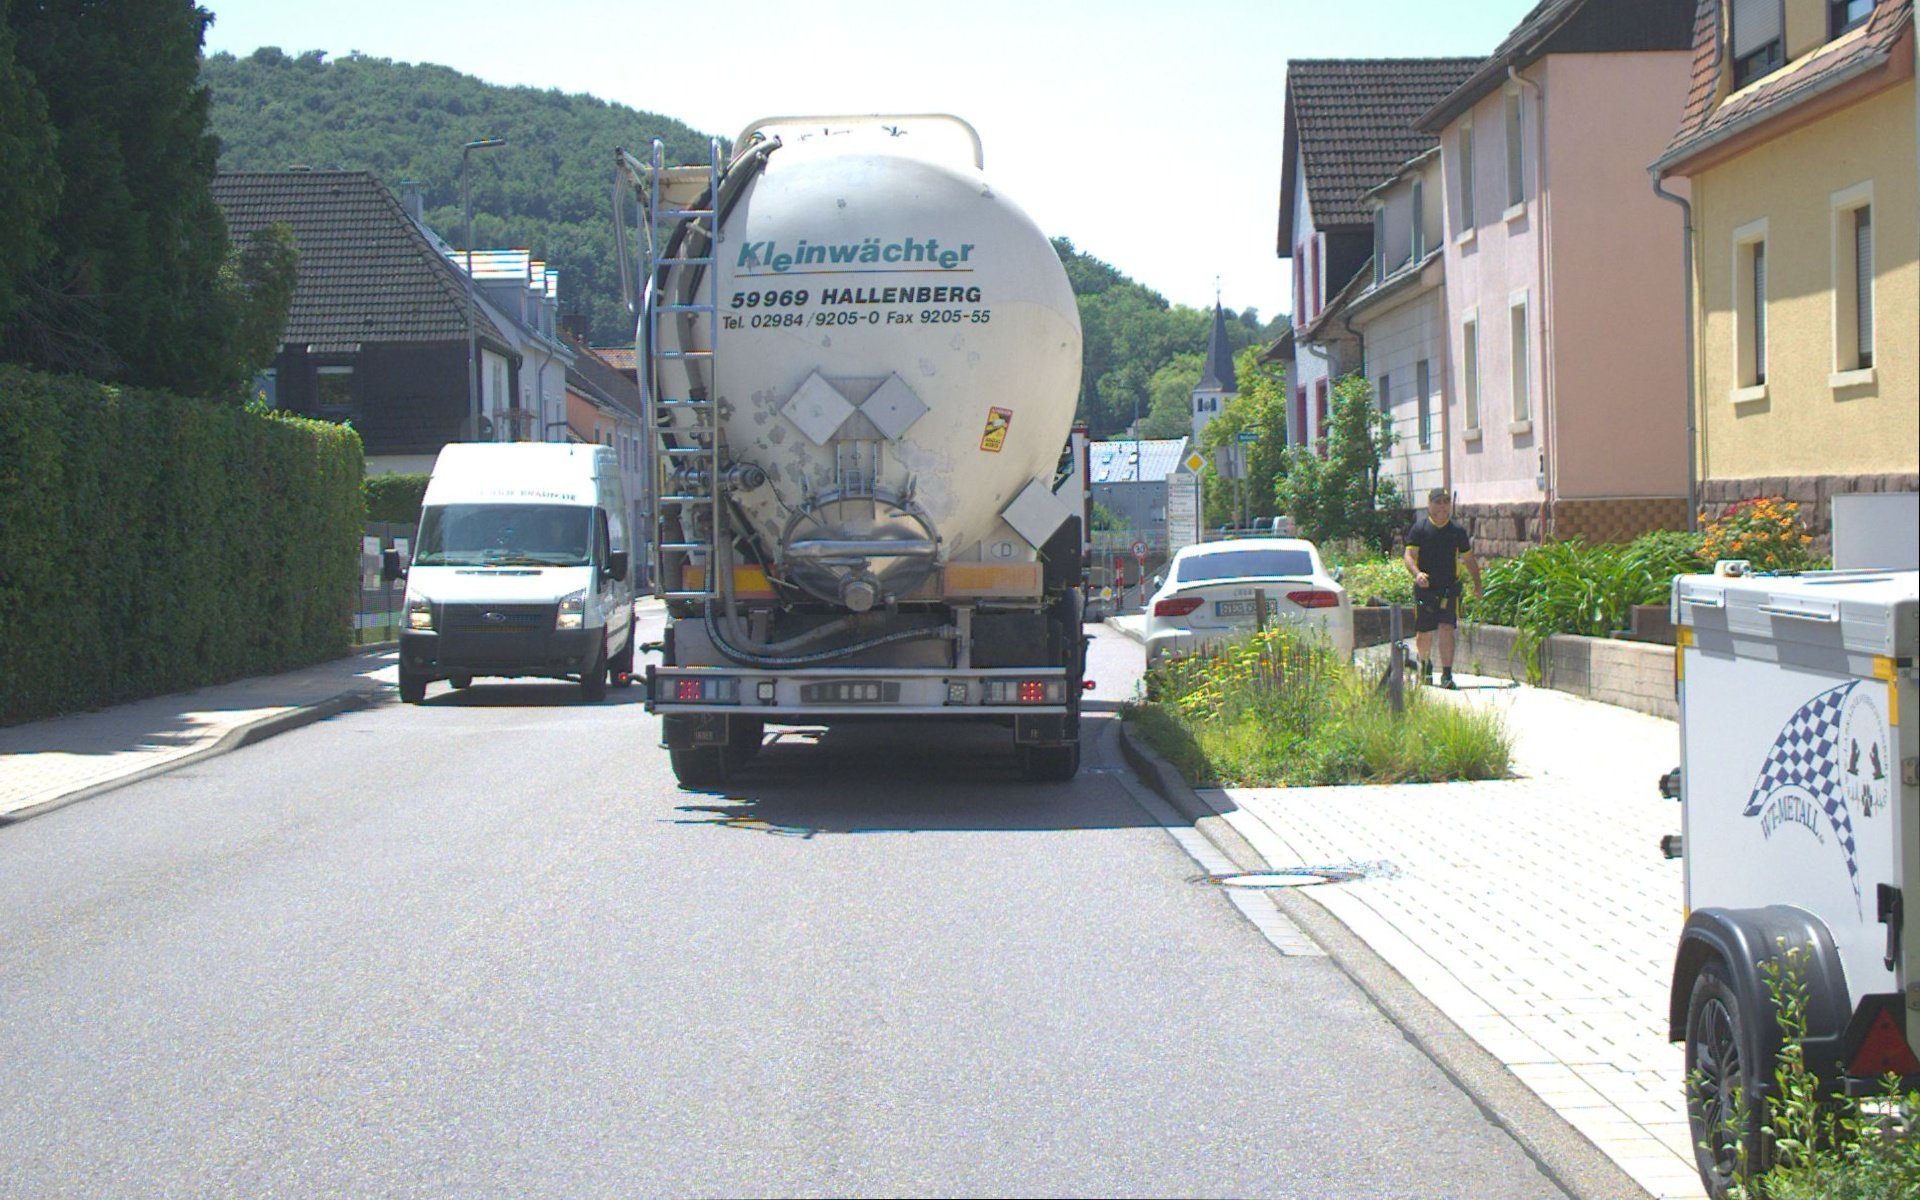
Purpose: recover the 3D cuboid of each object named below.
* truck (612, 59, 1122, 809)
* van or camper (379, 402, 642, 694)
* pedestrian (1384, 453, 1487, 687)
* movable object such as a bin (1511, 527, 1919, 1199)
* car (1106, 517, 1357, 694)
[{"bbox_3d":[-0.646,-0.987,24.019,2.750,4.043,10.890,0,1,-2],"label":"truck"},{"bbox_3d":[-4.465,-0.484,35.003,2.037,2.704,5.824,1,0,-1],"label":"van or camper"},{"bbox_3d":[4.153,-0.259,30.083,0.746,2.007,1.033,1,0,0],"label":"pedestrian"},{"bbox_3d":[2.333,0.555,7.764,1.571,1.412,3.042,-2,0,-2],"label":"movable object such as a bin"},{"bbox_3d":[2.393,0.063,31.362,1.756,1.413,4.633,-3,0,-1],"label":"car"}]
